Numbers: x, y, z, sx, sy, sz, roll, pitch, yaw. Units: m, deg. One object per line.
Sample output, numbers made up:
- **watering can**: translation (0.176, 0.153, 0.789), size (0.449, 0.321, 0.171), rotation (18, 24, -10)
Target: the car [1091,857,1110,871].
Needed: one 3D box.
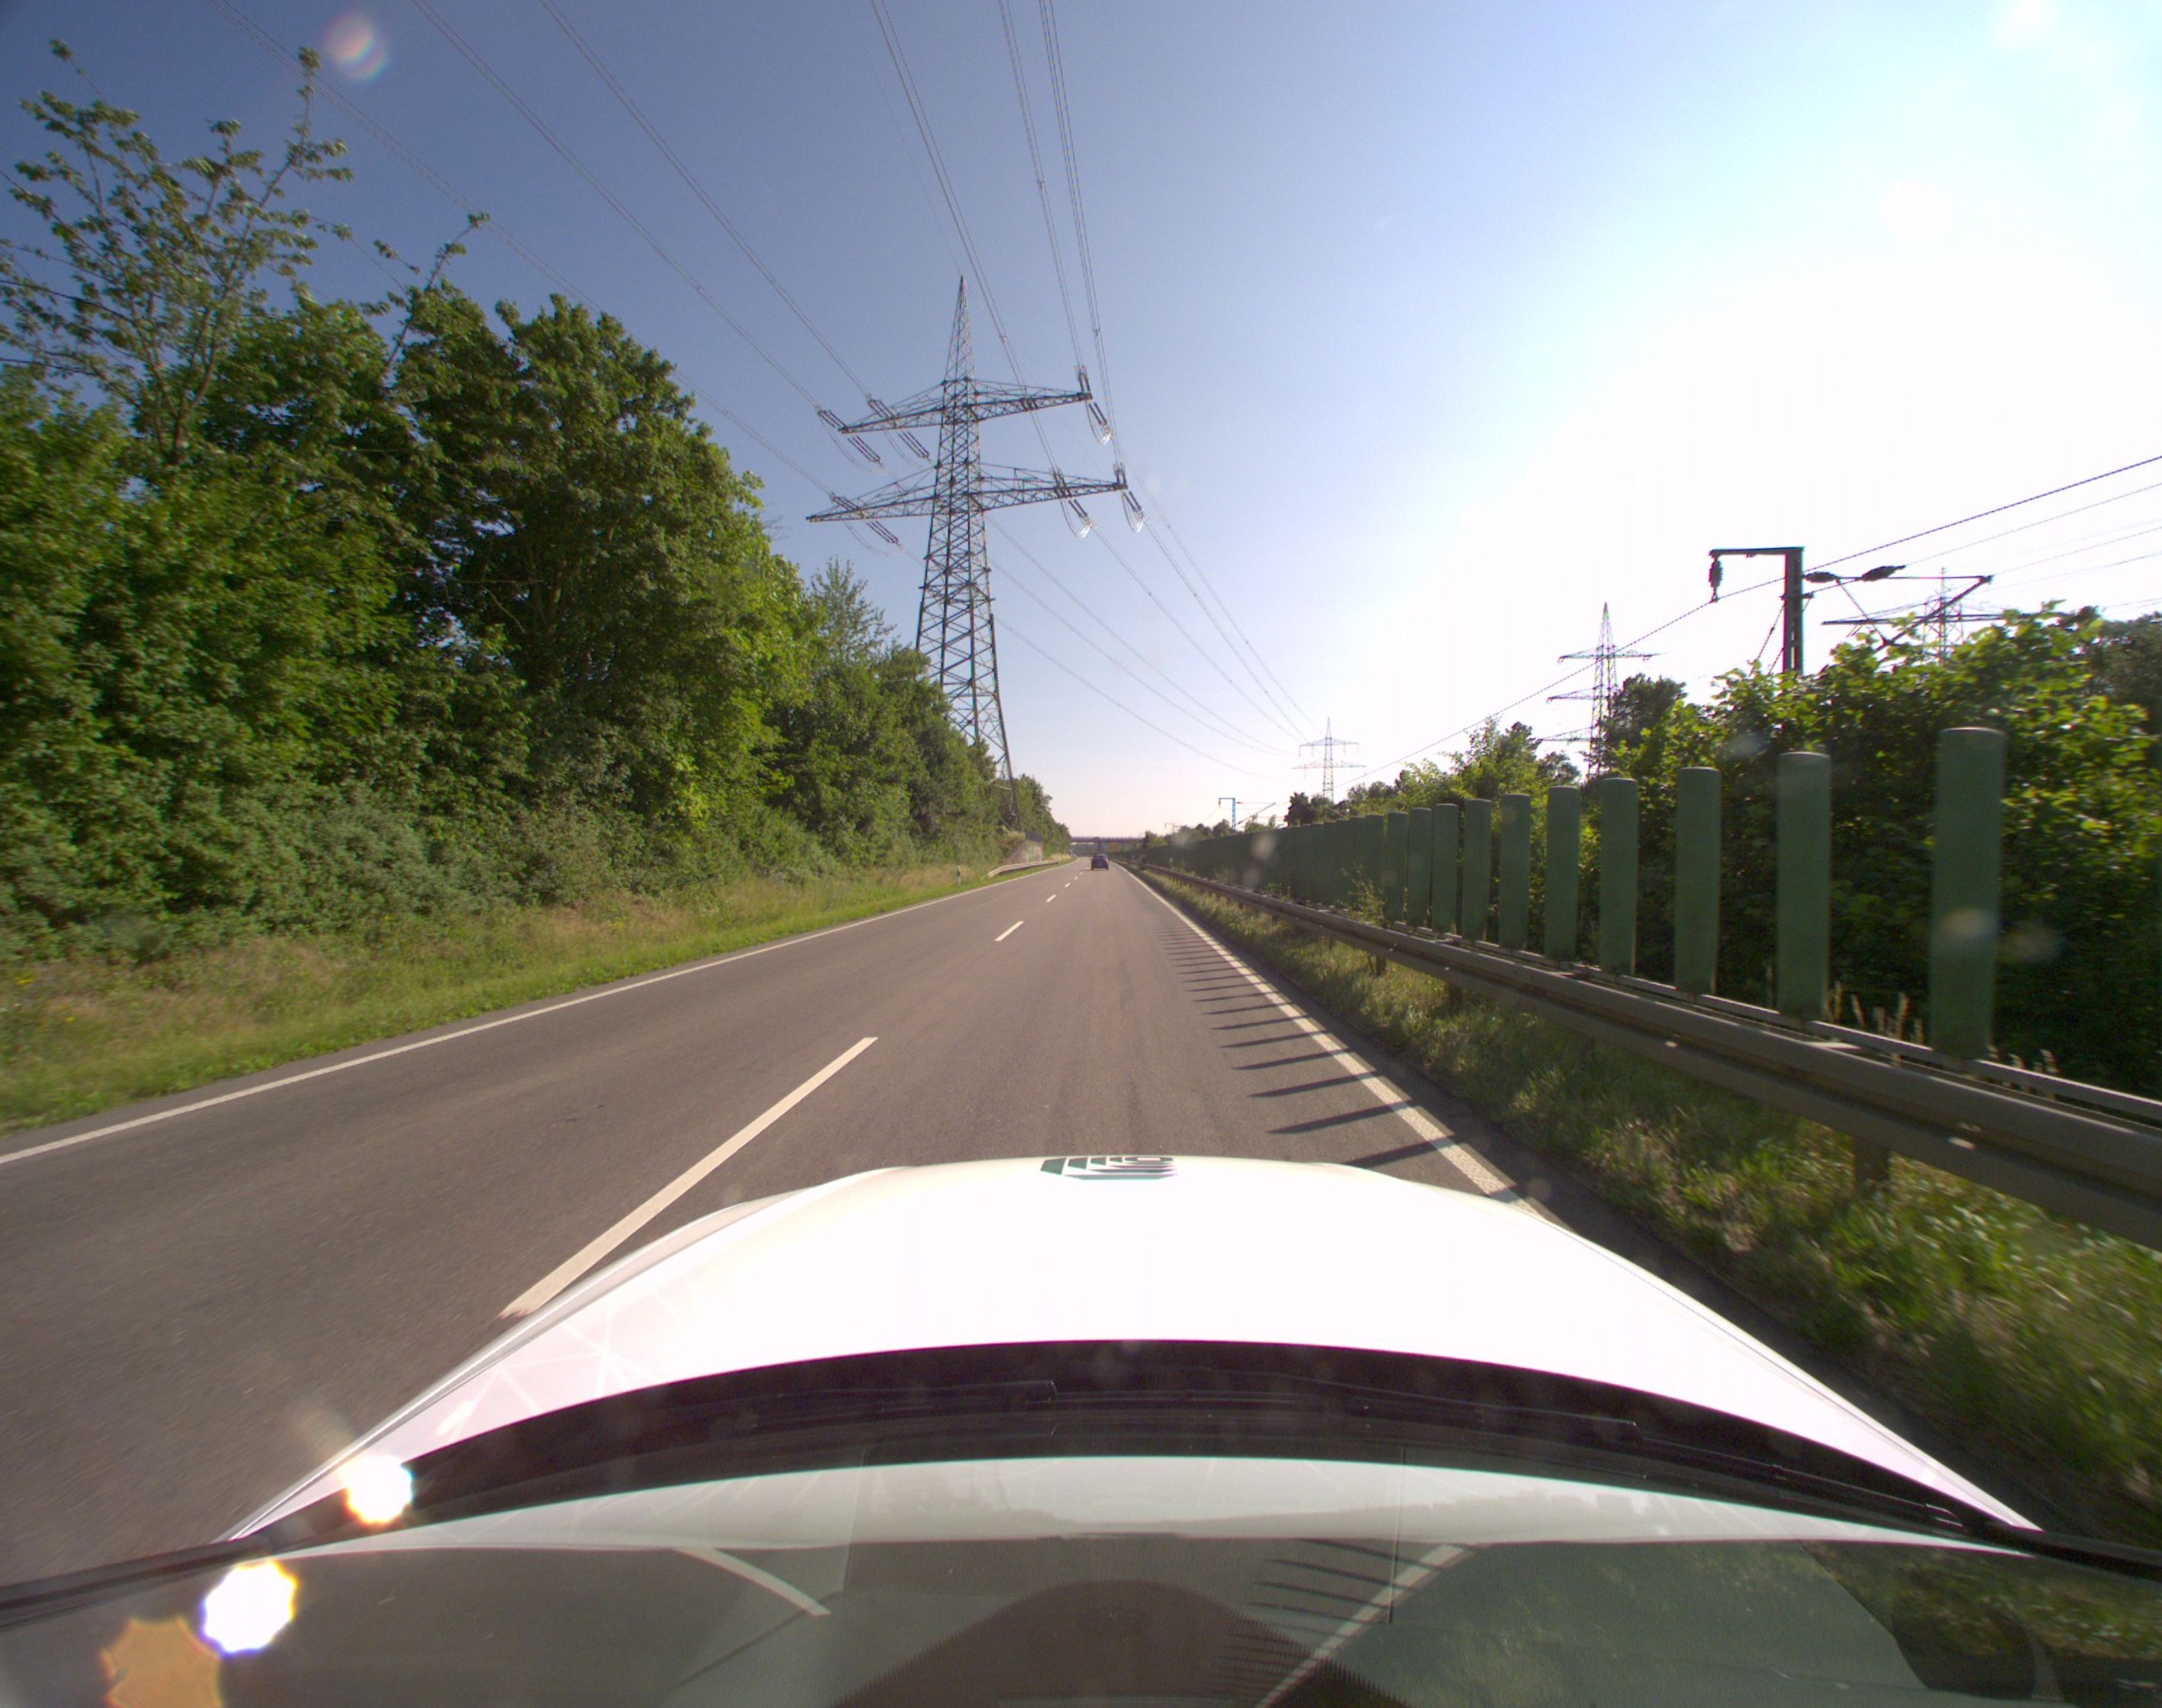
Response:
- **car**: translation (1.820, 0.969, 77.116), size (1.658, 1.261, 3.998), rotation (0, -1, -1)
